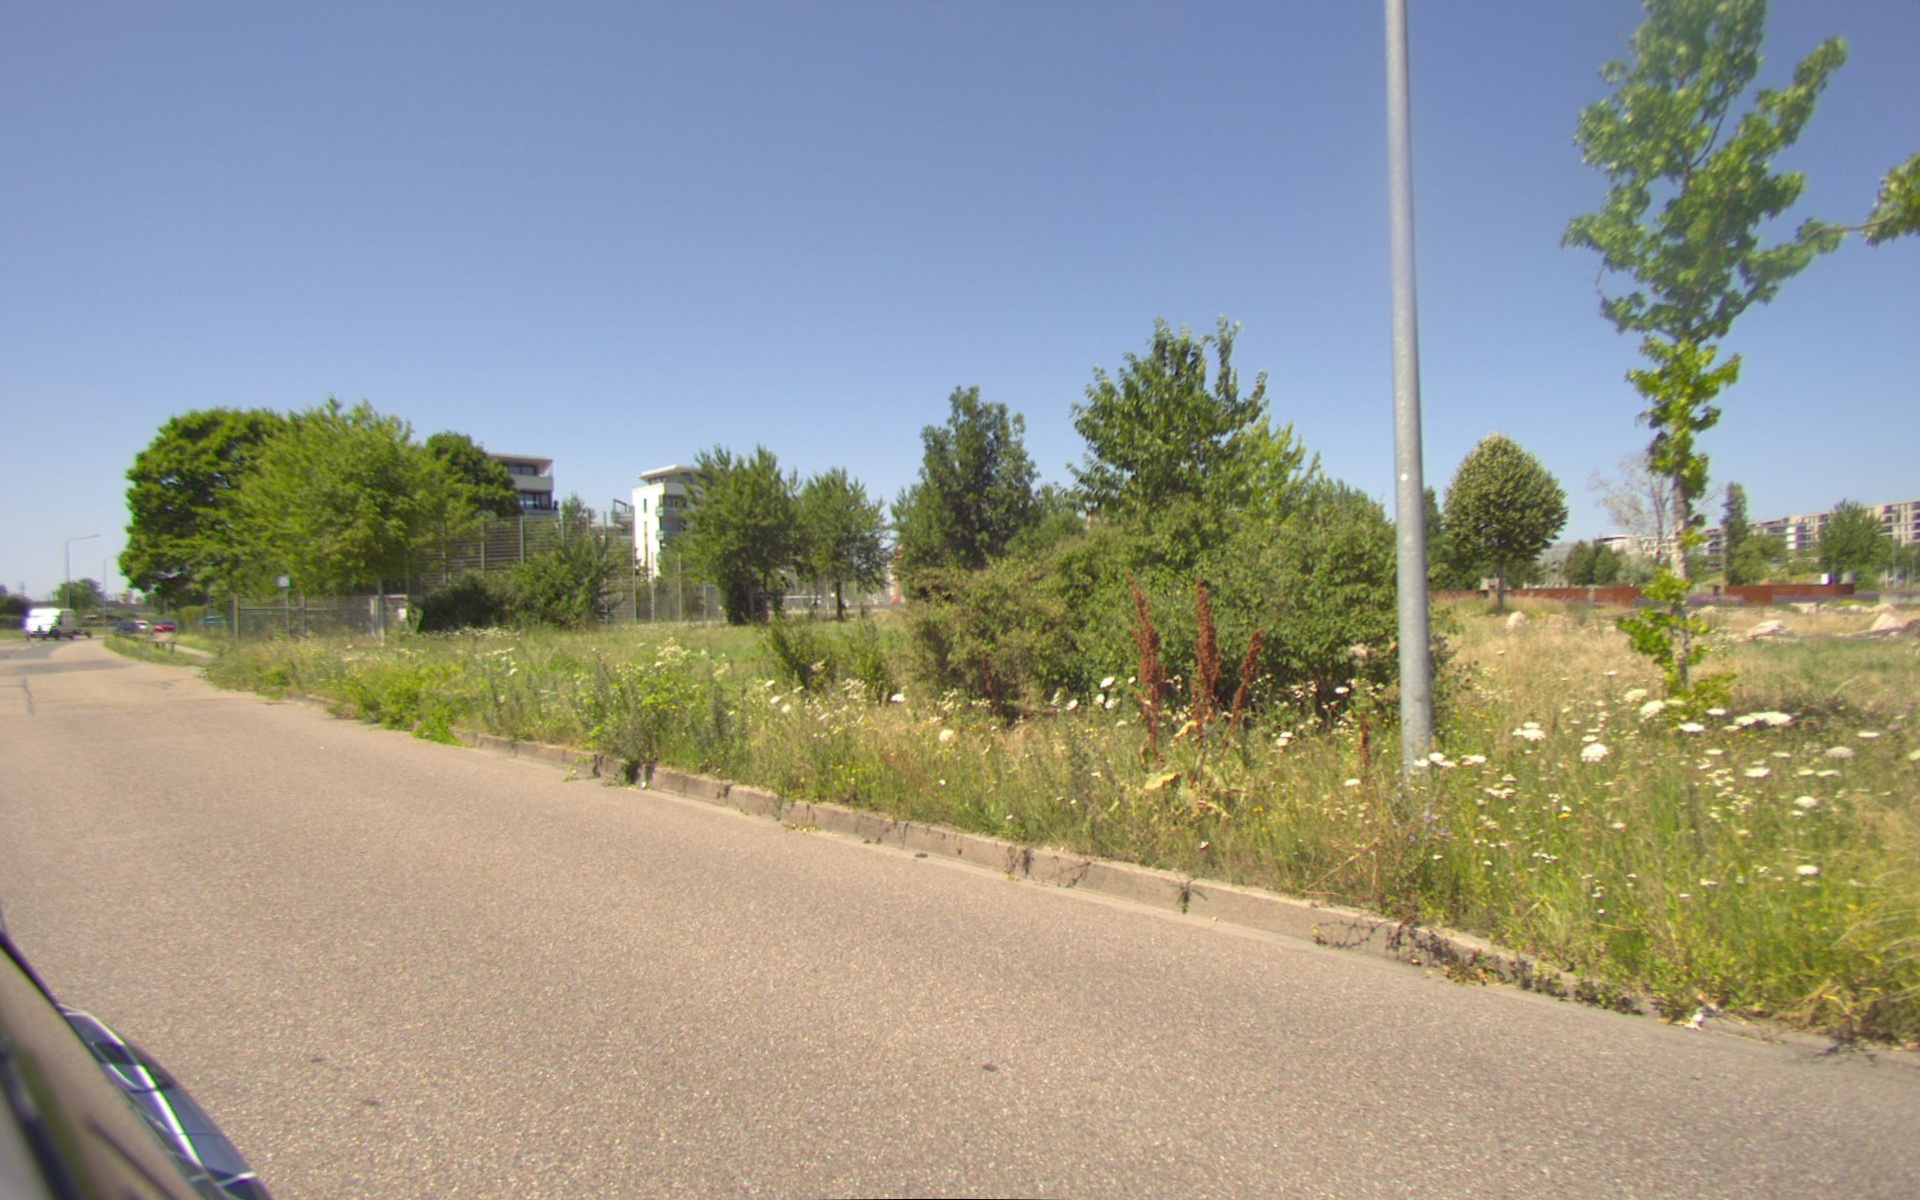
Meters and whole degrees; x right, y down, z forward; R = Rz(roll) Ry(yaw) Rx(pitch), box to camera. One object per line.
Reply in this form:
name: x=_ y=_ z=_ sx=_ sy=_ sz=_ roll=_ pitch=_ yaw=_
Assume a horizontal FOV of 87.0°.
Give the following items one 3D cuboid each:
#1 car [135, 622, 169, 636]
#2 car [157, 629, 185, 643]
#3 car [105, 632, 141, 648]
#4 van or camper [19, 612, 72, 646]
car: x=-85.136 y=3.039 z=106.718 sx=1.626 sy=1.478 sz=3.878 roll=-1 pitch=-1 yaw=-19
car: x=-91.047 y=4.122 z=116.806 sx=1.626 sy=1.478 sz=3.879 roll=-1 pitch=-1 yaw=-23
car: x=-83.440 y=3.965 z=100.959 sx=1.626 sy=1.478 sz=3.878 roll=-1 pitch=-1 yaw=-21
van or camper: x=-72.873 y=2.297 z=80.739 sx=2.106 sy=2.592 sz=5.882 roll=-1 pitch=-1 yaw=-32
